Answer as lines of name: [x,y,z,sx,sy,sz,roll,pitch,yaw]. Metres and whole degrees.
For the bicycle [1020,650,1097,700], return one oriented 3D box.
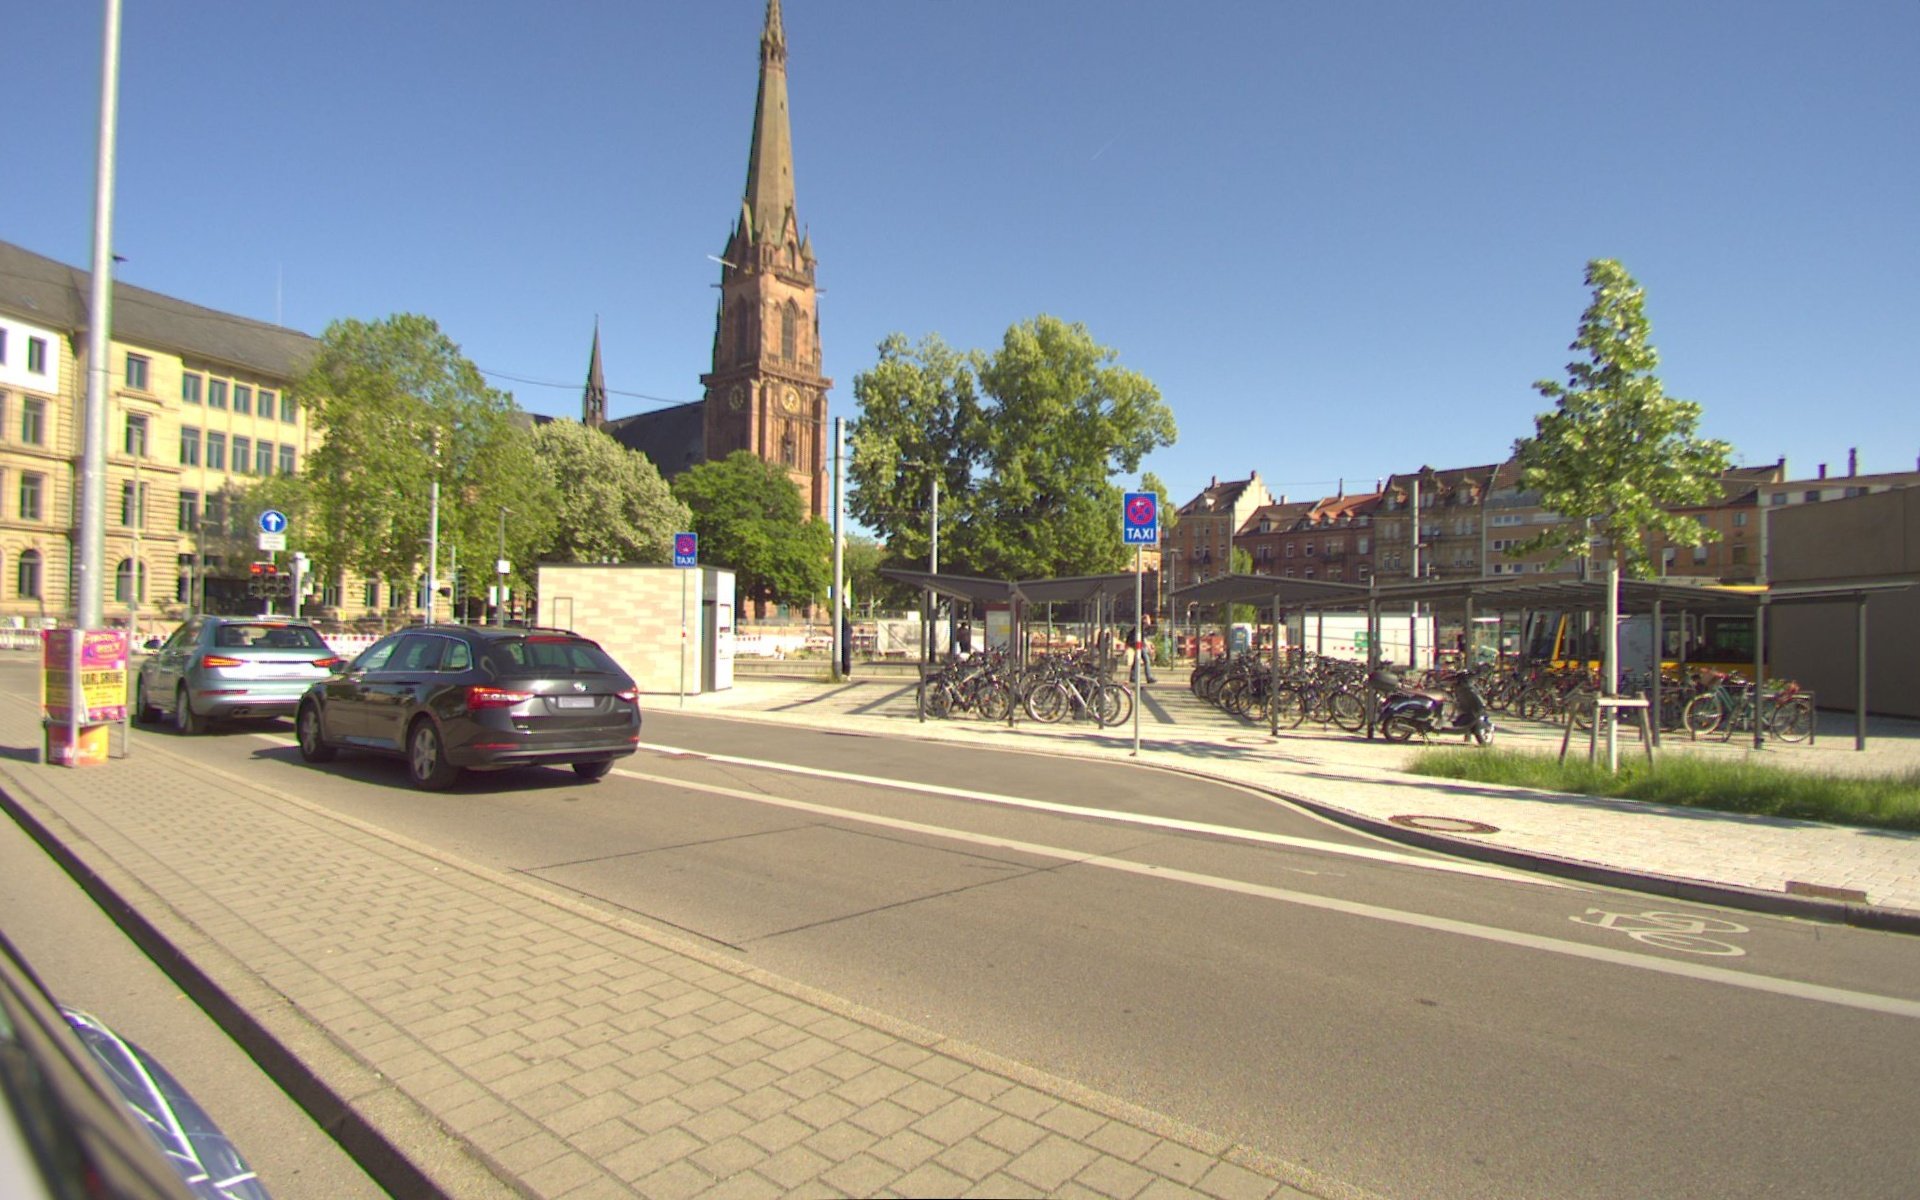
bicycle: [2.276,1.734,23.488,1.755,1.083,0.406,1,0,6]

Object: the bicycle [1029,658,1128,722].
bicycle: [2.143,1.620,18.327,1.753,1.083,0.406,1,0,6]

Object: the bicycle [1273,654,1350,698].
bicycle: [8.295,1.788,23.904,1.661,0.980,0.406,-1,0,3]

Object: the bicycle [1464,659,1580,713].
bicycle: [11.780,1.799,21.254,2.048,1.045,0.533,-1,2,8]

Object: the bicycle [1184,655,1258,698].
bicycle: [6.260,1.840,24.301,1.661,0.980,0.406,1,-5,3]

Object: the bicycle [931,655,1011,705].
bicycle: [0.233,1.679,21.394,1.663,1.006,0.406,0,0,8]

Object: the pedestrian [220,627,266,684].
pedestrian: [-21.316,1.636,30.107,0.622,1.680,0.931,0,-2,3]

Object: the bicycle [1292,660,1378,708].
bicycle: [7.992,1.793,21.613,1.661,0.980,0.406,-1,0,3]

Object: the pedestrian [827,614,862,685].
pedestrian: [-3.114,1.331,27.352,0.691,1.874,0.622,2,-2,-37]

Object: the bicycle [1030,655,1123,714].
bicycle: [2.239,1.623,19.572,1.755,1.083,0.406,1,0,6]

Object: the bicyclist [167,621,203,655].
bicyclist: [-36.765,1.800,48.018,1.125,1.552,0.684,1,-2,-14]

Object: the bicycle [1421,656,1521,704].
bicycle: [12.304,1.923,24.419,2.048,1.045,0.533,1,3,8]

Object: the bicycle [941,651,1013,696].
bicycle: [0.397,1.705,23.652,1.663,1.006,0.406,0,0,8]

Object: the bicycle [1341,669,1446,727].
bicycle: [7.647,1.728,17.882,1.661,0.980,0.406,-1,0,3]

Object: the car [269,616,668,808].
car: [-5.143,0.986,10.269,4.780,1.516,1.795,-1,-4,40]

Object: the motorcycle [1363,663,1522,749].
motorcycle: [7.197,1.574,15.149,2.059,1.228,0.569,-1,-2,3]

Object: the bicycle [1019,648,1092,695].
bicycle: [2.318,1.727,24.667,1.755,1.083,0.406,1,0,6]

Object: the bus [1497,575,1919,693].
bus: [22.850,0.940,28.535,13.462,3.095,2.859,0,-2,6]

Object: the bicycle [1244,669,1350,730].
bicycle: [5.797,1.713,17.453,1.661,0.980,0.406,1,0,3]

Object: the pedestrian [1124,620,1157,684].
pedestrian: [4.951,1.419,27.755,0.823,1.740,0.620,0,-2,4]

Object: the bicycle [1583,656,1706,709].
bicycle: [14.082,1.700,20.867,2.048,1.045,0.533,-1,0,8]

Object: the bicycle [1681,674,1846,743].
bicycle: [12.771,1.718,16.127,2.048,1.045,0.533,-1,0,8]

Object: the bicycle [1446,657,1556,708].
bicycle: [11.869,1.805,22.245,2.048,1.045,0.533,-1,2,8]

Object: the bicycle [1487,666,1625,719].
bicycle: [11.618,1.802,19.780,2.208,0.951,0.685,-1,0,7]

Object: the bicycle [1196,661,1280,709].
bicycle: [5.929,1.809,21.630,1.661,0.980,0.406,1,-5,3]

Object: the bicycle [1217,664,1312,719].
bicycle: [5.818,1.740,19.365,1.661,0.980,0.406,1,0,3]

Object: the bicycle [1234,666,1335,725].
bicycle: [5.819,1.713,18.178,1.661,0.980,0.406,1,0,3]

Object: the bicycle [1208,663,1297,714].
bicycle: [5.929,1.788,20.554,1.661,0.980,0.406,1,-5,3]

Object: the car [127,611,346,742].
car: [-10.439,1.014,14.474,4.259,1.594,1.767,-2,-4,44]

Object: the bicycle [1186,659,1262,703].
bicycle: [6.141,1.885,23.614,1.661,0.980,0.406,1,-5,3]

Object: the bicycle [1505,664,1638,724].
bicycle: [11.325,1.737,18.802,2.048,1.045,0.533,-1,0,8]

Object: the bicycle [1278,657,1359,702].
bicycle: [8.077,1.792,22.828,1.661,0.980,0.406,-1,0,3]

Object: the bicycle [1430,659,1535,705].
bicycle: [12.035,1.883,23.364,2.048,1.045,0.533,-1,-4,8]

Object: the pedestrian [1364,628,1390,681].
pedestrian: [16.187,2.115,39.330,0.793,2.029,0.535,0,-2,4]

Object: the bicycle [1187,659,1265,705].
bicycle: [6.057,1.863,23.041,1.661,0.980,0.406,1,-5,3]

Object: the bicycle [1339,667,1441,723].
bicycle: [7.827,1.726,18.449,1.661,0.980,0.406,-1,0,3]

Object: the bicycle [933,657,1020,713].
bicycle: [0.332,1.667,19.935,1.663,1.006,0.406,2,0,8]

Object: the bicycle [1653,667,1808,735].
bicycle: [12.992,1.700,17.105,2.030,1.087,0.604,-1,0,7]

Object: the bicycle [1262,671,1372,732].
bicycle: [5.937,1.688,16.879,1.661,0.980,0.406,-1,0,3]

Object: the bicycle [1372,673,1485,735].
bicycle: [7.771,1.727,16.811,1.661,0.980,0.406,-1,0,3]

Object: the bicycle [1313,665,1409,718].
bicycle: [7.720,1.766,19.519,1.661,0.980,0.406,-1,0,3]

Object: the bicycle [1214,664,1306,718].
bicycle: [5.905,1.784,19.948,1.661,0.980,0.406,1,0,3]

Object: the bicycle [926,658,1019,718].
bicycle: [0.235,1.600,18.591,1.663,1.006,0.406,2,0,8]

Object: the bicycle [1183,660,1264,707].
bicycle: [5.790,1.841,22.286,1.661,0.980,0.406,1,-5,3]

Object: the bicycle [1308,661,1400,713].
bicycle: [7.861,1.733,20.219,1.661,0.980,0.406,-1,0,3]

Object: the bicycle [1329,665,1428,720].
bicycle: [7.846,1.734,19.003,1.661,0.980,0.406,-1,0,3]

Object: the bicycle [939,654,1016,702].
bicycle: [0.388,1.708,22.274,1.663,1.006,0.406,0,0,8]

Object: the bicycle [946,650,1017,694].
bicycle: [0.521,1.705,24.177,1.663,1.006,0.406,0,0,8]

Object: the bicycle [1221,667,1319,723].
bicycle: [5.732,1.753,18.758,1.661,0.980,0.406,-1,0,3]

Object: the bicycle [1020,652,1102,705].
bicycle: [2.197,1.697,22.018,1.755,1.083,0.406,1,0,6]

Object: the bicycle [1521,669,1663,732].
bicycle: [10.979,1.741,17.628,2.048,1.045,0.533,-1,0,8]

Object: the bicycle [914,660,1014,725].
bicycle: [0.071,1.577,17.372,1.663,1.006,0.406,2,0,8]

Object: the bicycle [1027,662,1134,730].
bicycle: [2.026,1.609,17.082,1.753,1.083,0.406,1,-3,6]

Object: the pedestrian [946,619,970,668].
pedestrian: [-0.062,1.685,39.129,0.610,1.874,0.703,2,-2,-39]

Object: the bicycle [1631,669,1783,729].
bicycle: [13.483,1.784,18.319,2.117,1.005,0.690,-1,0,7]

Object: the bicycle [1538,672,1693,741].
bicycle: [10.576,1.714,16.379,2.048,1.045,0.533,-1,0,8]

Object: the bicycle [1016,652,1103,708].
bicycle: [2.056,1.646,20.963,1.755,1.083,0.406,1,0,6]

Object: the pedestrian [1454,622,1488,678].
pedestrian: [17.839,1.732,35.323,0.793,1.931,0.769,0,-2,4]
